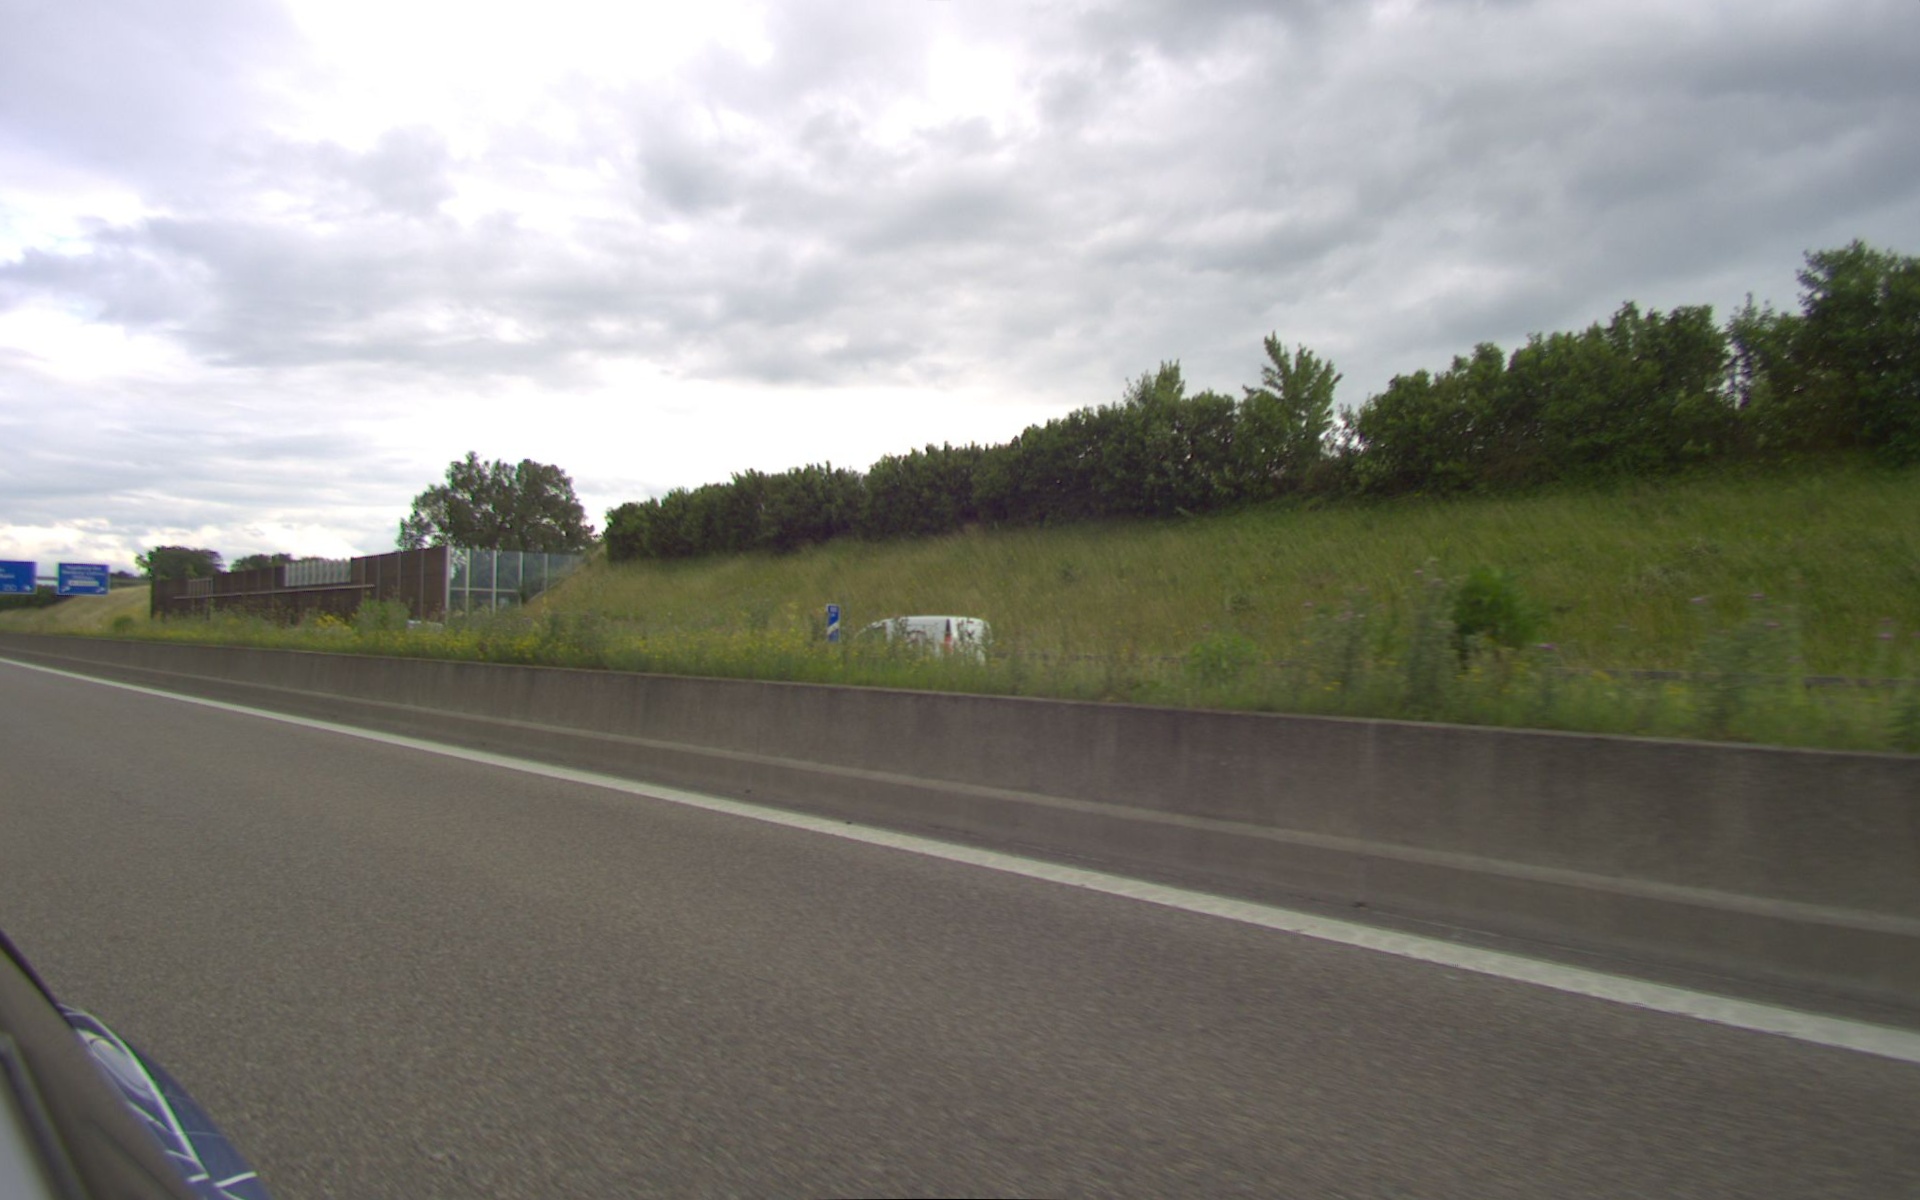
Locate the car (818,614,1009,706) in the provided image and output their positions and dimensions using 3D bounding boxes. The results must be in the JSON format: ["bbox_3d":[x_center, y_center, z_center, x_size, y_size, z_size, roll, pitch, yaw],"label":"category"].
[{"bbox_3d":[-1.059,1.220,21.644,4.117,1.770,1.583,-1,-2,40],"label":"car"}]
